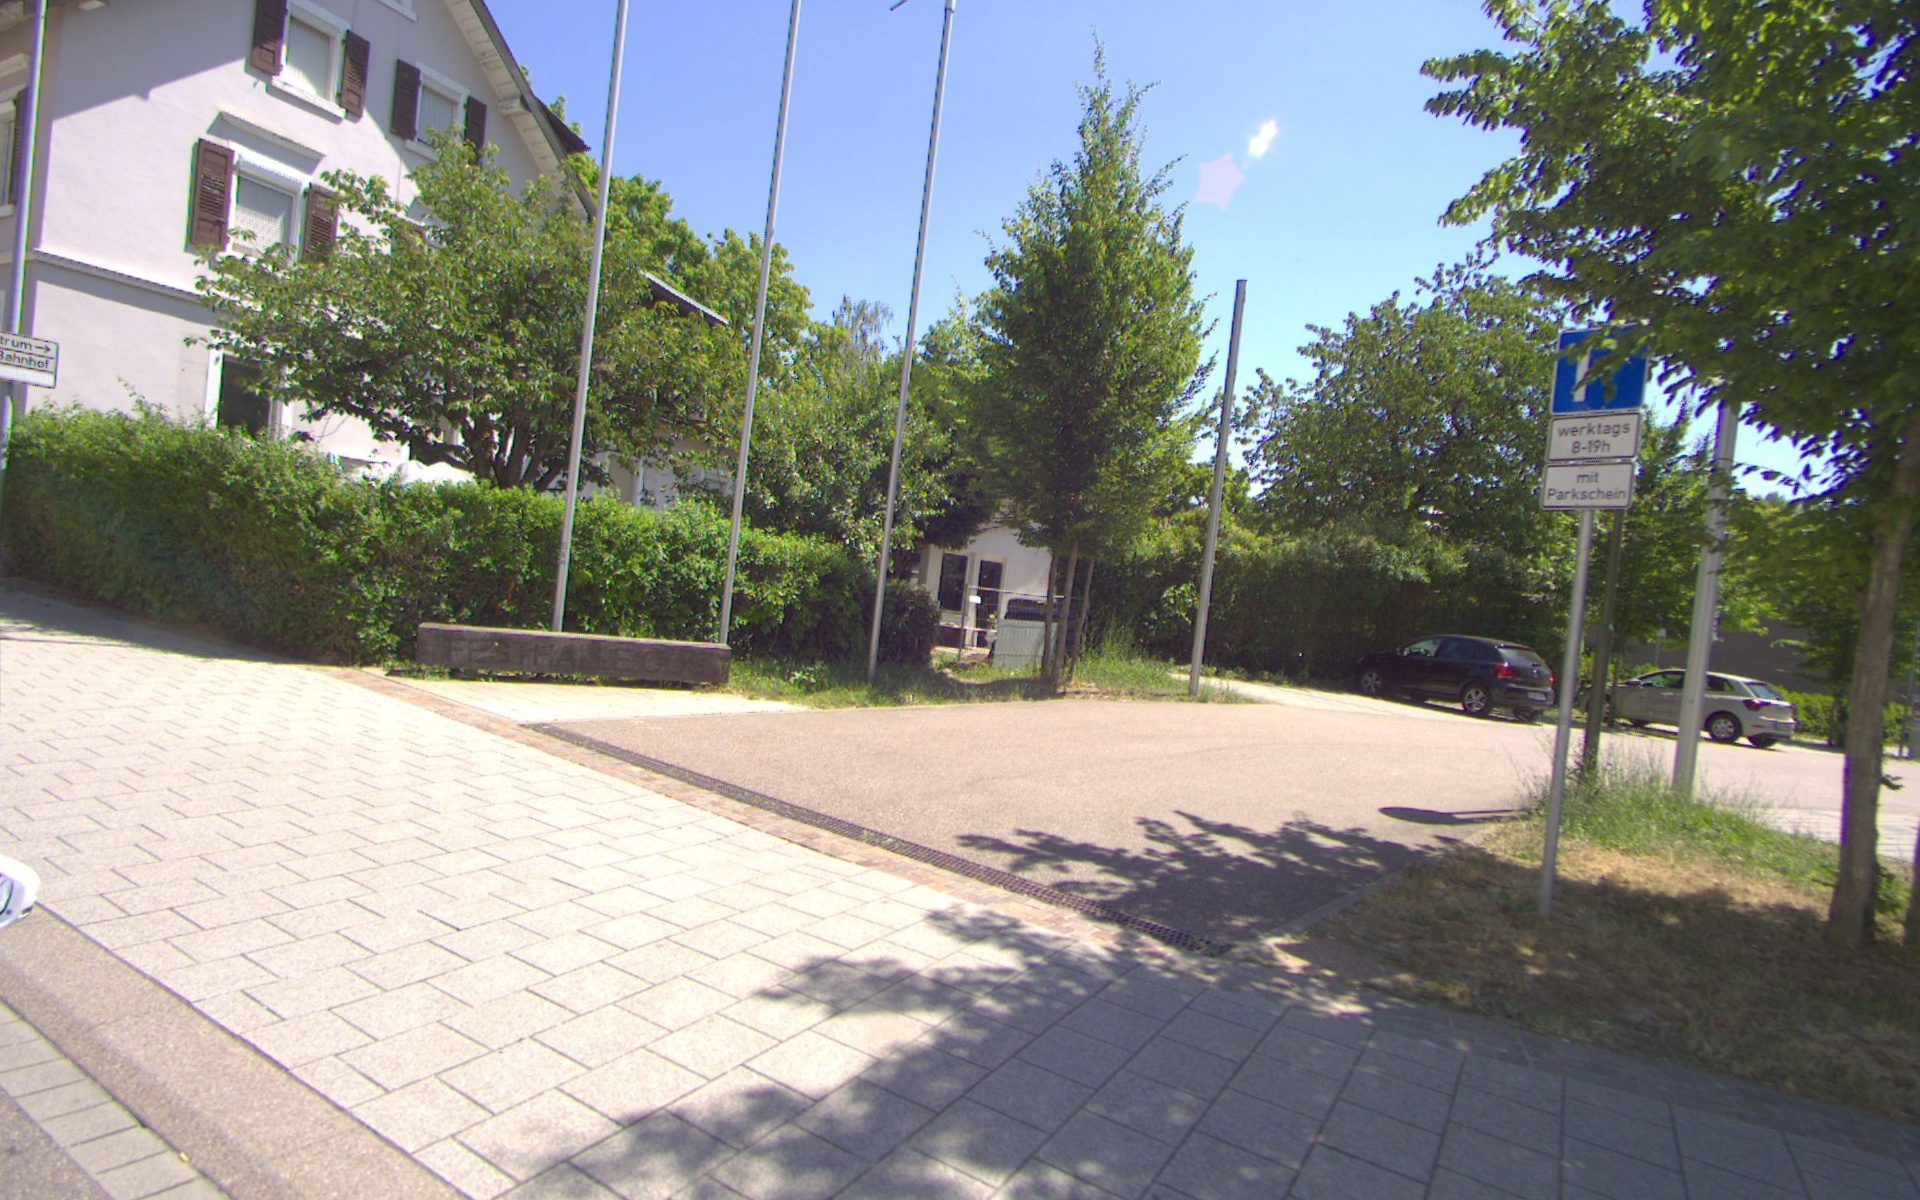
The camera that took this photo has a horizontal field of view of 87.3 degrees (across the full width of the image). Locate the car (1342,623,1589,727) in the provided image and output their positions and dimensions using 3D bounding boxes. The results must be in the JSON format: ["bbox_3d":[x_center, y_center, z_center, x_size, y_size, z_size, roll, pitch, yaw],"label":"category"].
[{"bbox_3d":[9.822,1.408,19.891,1.852,1.459,3.975,6,1,-25],"label":"car"}]

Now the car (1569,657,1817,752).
[{"bbox_3d":[16.229,2.275,22.499,1.853,1.459,3.973,6,1,-26],"label":"car"}]
